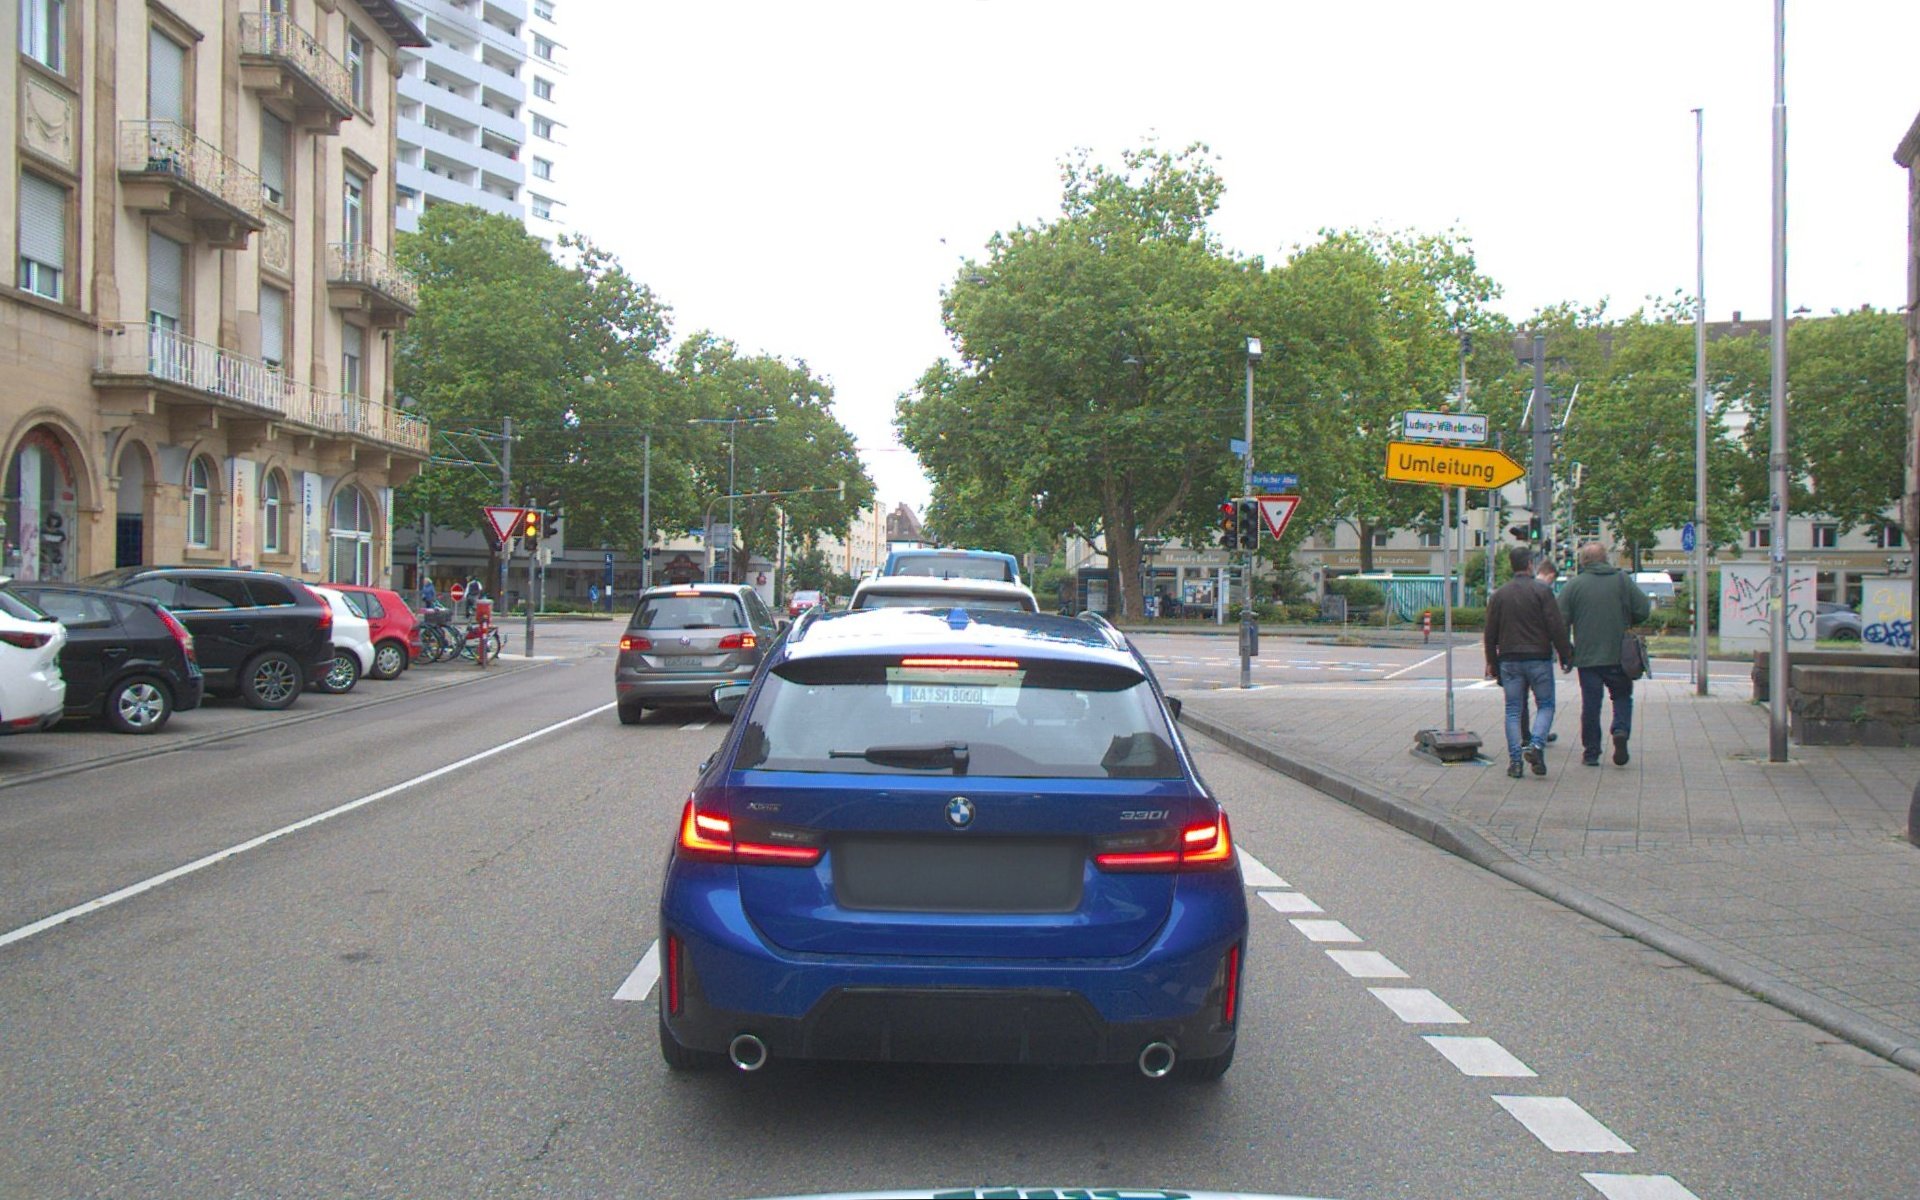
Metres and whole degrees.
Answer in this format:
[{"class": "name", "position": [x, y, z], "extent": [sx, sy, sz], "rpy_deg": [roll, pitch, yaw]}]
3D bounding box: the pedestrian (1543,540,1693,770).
[{"class": "pedestrian", "position": [5.362, 0.429, 13.532], "extent": [0.788, 1.789, 0.969], "rpy_deg": [-2, 0, -1]}]

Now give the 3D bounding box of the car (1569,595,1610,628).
[{"class": "car", "position": [31.044, 0.534, 81.492], "extent": [1.632, 1.542, 3.935], "rpy_deg": [1, 0, 25]}]

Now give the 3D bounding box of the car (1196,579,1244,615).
[{"class": "car", "position": [16.955, -0.189, 107.651], "extent": [2.130, 2.239, 3.999], "rpy_deg": [0, 0, 23]}]

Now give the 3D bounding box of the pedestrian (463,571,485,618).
[{"class": "pedestrian", "position": [-18.968, -0.226, 64.586], "extent": [0.661, 1.802, 0.726], "rpy_deg": [0, 0, -1]}]

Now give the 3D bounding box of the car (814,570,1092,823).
[{"class": "car", "position": [-0.073, 0.610, 12.657], "extent": [1.778, 1.620, 3.999], "rpy_deg": [0, 0, -1]}]

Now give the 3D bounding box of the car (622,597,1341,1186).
[{"class": "car", "position": [0.027, 0.721, 6.265], "extent": [1.778, 1.430, 4.319], "rpy_deg": [0, 0, -1]}]

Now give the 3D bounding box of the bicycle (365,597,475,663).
[{"class": "bicycle", "position": [-10.320, 0.578, 31.633], "extent": [1.849, 1.053, 0.442], "rpy_deg": [6, 0, -3]}]

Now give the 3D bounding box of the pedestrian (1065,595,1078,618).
[{"class": "pedestrian", "position": [7.010, 0.406, 104.067], "extent": [0.801, 1.396, 0.762], "rpy_deg": [0, 0, -1]}]

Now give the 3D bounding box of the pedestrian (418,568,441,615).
[{"class": "pedestrian", "position": [-20.531, -0.316, 63.984], "extent": [0.661, 1.802, 0.726], "rpy_deg": [0, 0, -1]}]

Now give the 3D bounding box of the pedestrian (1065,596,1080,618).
[{"class": "pedestrian", "position": [7.025, 0.449, 103.144], "extent": [0.835, 1.337, 0.762], "rpy_deg": [0, 0, -1]}]

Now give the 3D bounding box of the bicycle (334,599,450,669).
[{"class": "bicycle", "position": [-10.225, 0.609, 29.801], "extent": [1.849, 1.053, 0.442], "rpy_deg": [6, 0, -3]}]

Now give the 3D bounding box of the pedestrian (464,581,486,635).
[{"class": "pedestrian", "position": [-18.498, 0.305, 63.096], "extent": [0.613, 2.049, 0.617], "rpy_deg": [1, -1, -3]}]

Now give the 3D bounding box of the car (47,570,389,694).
[{"class": "car", "position": [-10.089, 0.470, 22.675], "extent": [3.968, 1.498, 1.540], "rpy_deg": [3, 0, -44]}]

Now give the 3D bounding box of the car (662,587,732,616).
[{"class": "car", "position": [-16.581, 0.084, 104.333], "extent": [3.953, 1.736, 1.976], "rpy_deg": [1, 0, -35]}]

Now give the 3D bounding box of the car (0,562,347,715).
[{"class": "car", "position": [-9.827, 0.432, 20.017], "extent": [4.192, 1.680, 1.704], "rpy_deg": [1, 0, -44]}]

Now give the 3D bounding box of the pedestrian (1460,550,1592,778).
[{"class": "pedestrian", "position": [4.454, 0.485, 13.074], "extent": [0.660, 1.715, 0.969], "rpy_deg": [-2, 0, -1]}]

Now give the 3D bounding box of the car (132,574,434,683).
[{"class": "car", "position": [-10.358, 0.438, 25.506], "extent": [1.653, 1.498, 3.978], "rpy_deg": [3, 1, 40]}]

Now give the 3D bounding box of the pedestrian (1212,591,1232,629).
[{"class": "pedestrian", "position": [12.313, 0.448, 77.717], "extent": [0.768, 1.774, 0.925], "rpy_deg": [0, 0, -2]}]

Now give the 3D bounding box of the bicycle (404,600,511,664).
[{"class": "bicycle", "position": [-9.777, 0.618, 32.189], "extent": [1.849, 1.053, 0.442], "rpy_deg": [6, 0, -3]}]

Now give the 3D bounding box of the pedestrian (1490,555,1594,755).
[{"class": "pedestrian", "position": [5.157, 0.468, 14.708], "extent": [0.619, 1.702, 0.970], "rpy_deg": [-2, 0, 6]}]

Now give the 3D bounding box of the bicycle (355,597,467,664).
[{"class": "bicycle", "position": [-10.275, 0.564, 30.998], "extent": [1.849, 1.053, 0.442], "rpy_deg": [6, 0, -3]}]

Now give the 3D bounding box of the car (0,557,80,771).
[{"class": "car", "position": [-9.595, 0.488, 13.691], "extent": [3.937, 1.754, 1.826], "rpy_deg": [1, 0, -26]}]

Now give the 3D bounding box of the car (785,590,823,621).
[{"class": "car", "position": [-7.833, 0.261, 83.100], "extent": [1.615, 1.472, 3.510], "rpy_deg": [0, 0, -1]}]

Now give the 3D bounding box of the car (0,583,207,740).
[{"class": "car", "position": [-9.934, 0.586, 16.688], "extent": [3.959, 1.521, 1.708], "rpy_deg": [1, 0, -39]}]

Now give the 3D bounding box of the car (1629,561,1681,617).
[{"class": "car", "position": [34.899, -0.551, 82.935], "extent": [2.191, 2.685, 5.443], "rpy_deg": [1, 0, 25]}]

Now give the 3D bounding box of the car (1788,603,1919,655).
[{"class": "car", "position": [28.764, 0.912, 52.963], "extent": [3.895, 1.589, 1.687], "rpy_deg": [0, 0, 22]}]

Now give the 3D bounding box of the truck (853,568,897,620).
[{"class": "truck", "position": [-4.135, -0.298, 80.848], "extent": [2.033, 2.450, 5.460], "rpy_deg": [0, 1, -3]}]

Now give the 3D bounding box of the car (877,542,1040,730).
[{"class": "car", "position": [-0.044, 0.376, 20.059], "extent": [1.778, 2.040, 3.999], "rpy_deg": [0, 0, -1]}]

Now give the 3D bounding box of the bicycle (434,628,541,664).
[{"class": "bicycle", "position": [-9.474, 0.918, 33.234], "extent": [1.849, 0.453, 1.028], "rpy_deg": [6, 2, -3]}]

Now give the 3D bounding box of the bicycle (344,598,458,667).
[{"class": "bicycle", "position": [-10.247, 0.588, 30.337], "extent": [1.849, 1.053, 0.442], "rpy_deg": [6, 0, -3]}]

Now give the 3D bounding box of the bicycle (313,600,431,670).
[{"class": "bicycle", "position": [-10.300, 0.611, 28.984], "extent": [1.848, 1.053, 0.442], "rpy_deg": [5, 0, 2]}]

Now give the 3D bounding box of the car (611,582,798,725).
[{"class": "car", "position": [-2.993, 0.569, 20.108], "extent": [1.697, 1.551, 3.999], "rpy_deg": [0, 0, -1]}]
